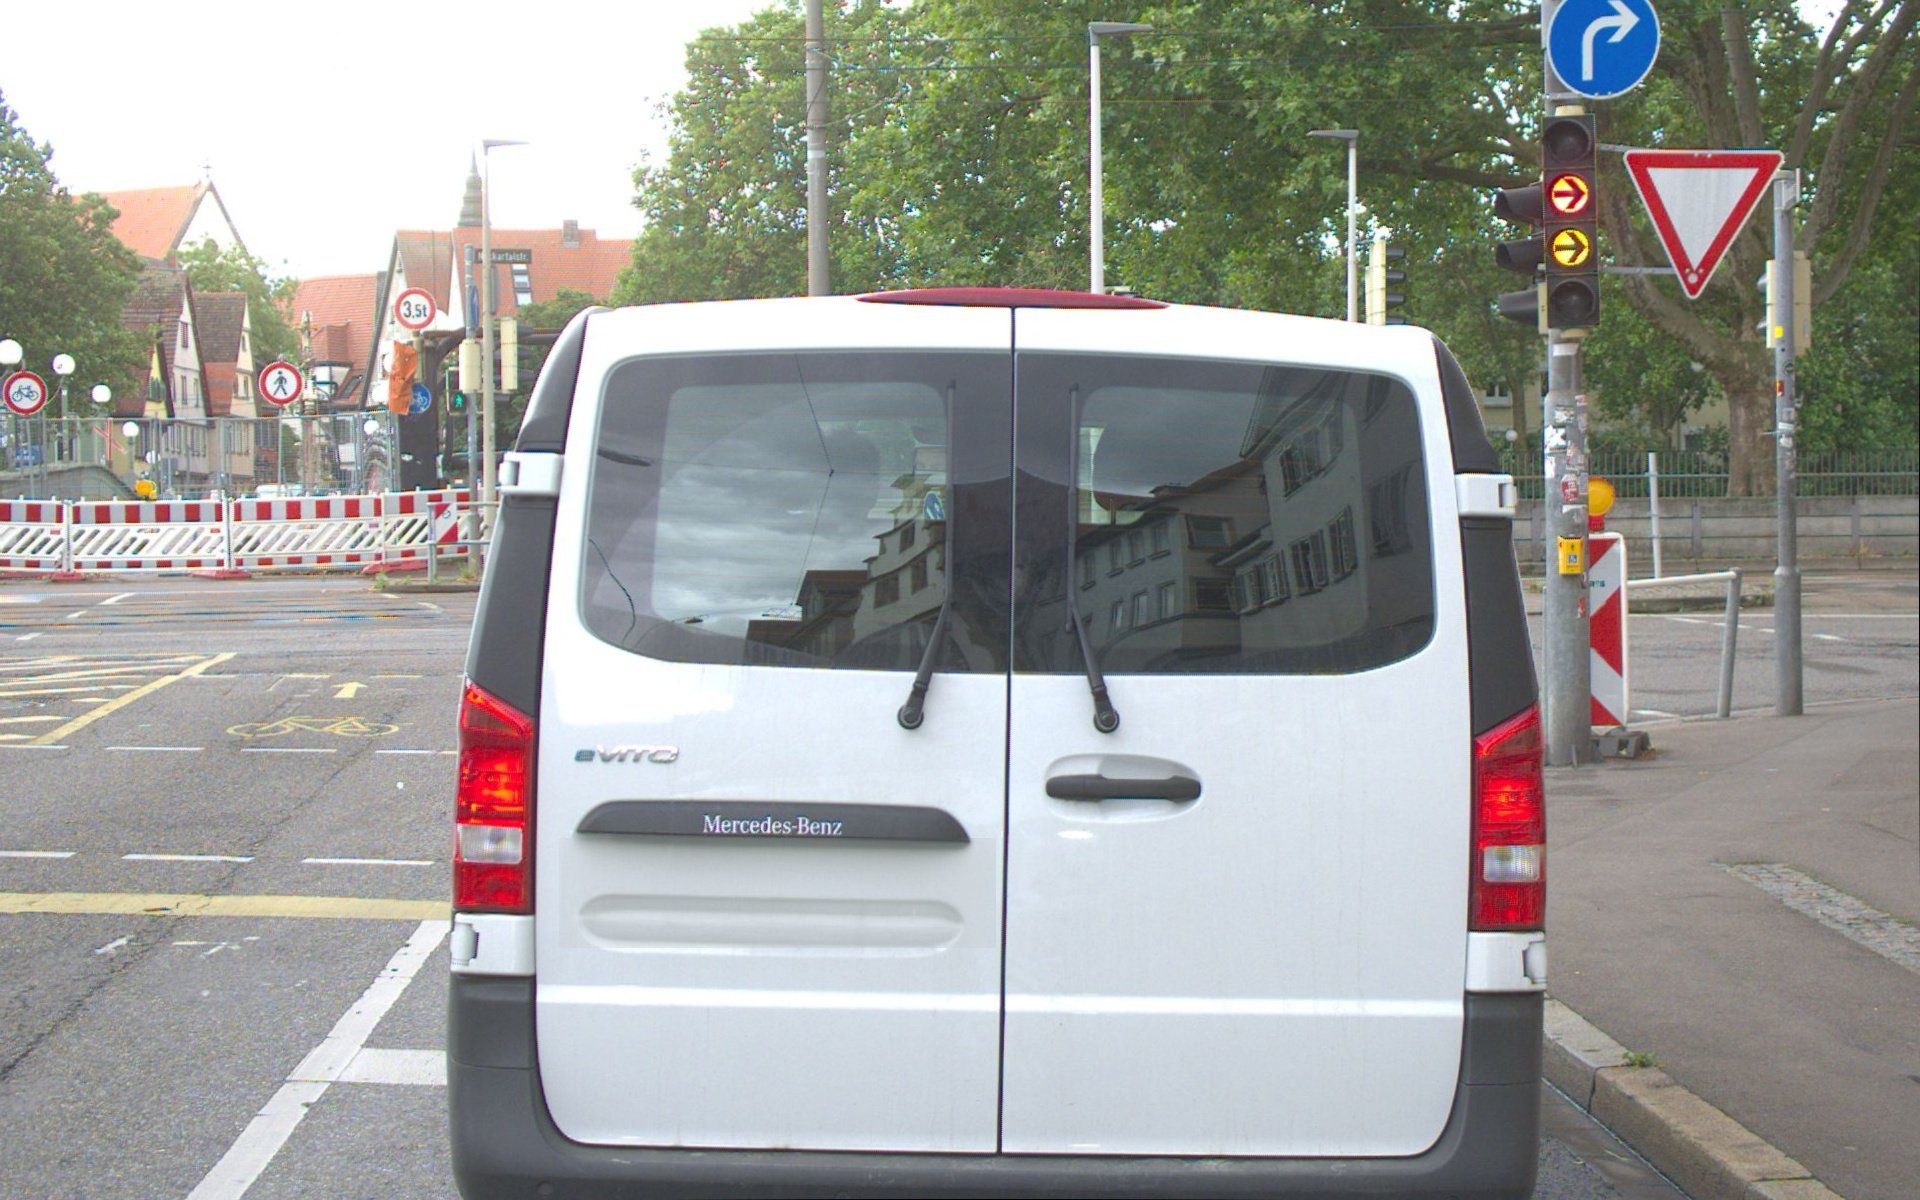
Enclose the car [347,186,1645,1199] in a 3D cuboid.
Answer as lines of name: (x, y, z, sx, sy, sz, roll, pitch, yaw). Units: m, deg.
car: (0.022, 0.292, 7.580, 1.951, 2.006, 4.699, 1, 2, -1)
